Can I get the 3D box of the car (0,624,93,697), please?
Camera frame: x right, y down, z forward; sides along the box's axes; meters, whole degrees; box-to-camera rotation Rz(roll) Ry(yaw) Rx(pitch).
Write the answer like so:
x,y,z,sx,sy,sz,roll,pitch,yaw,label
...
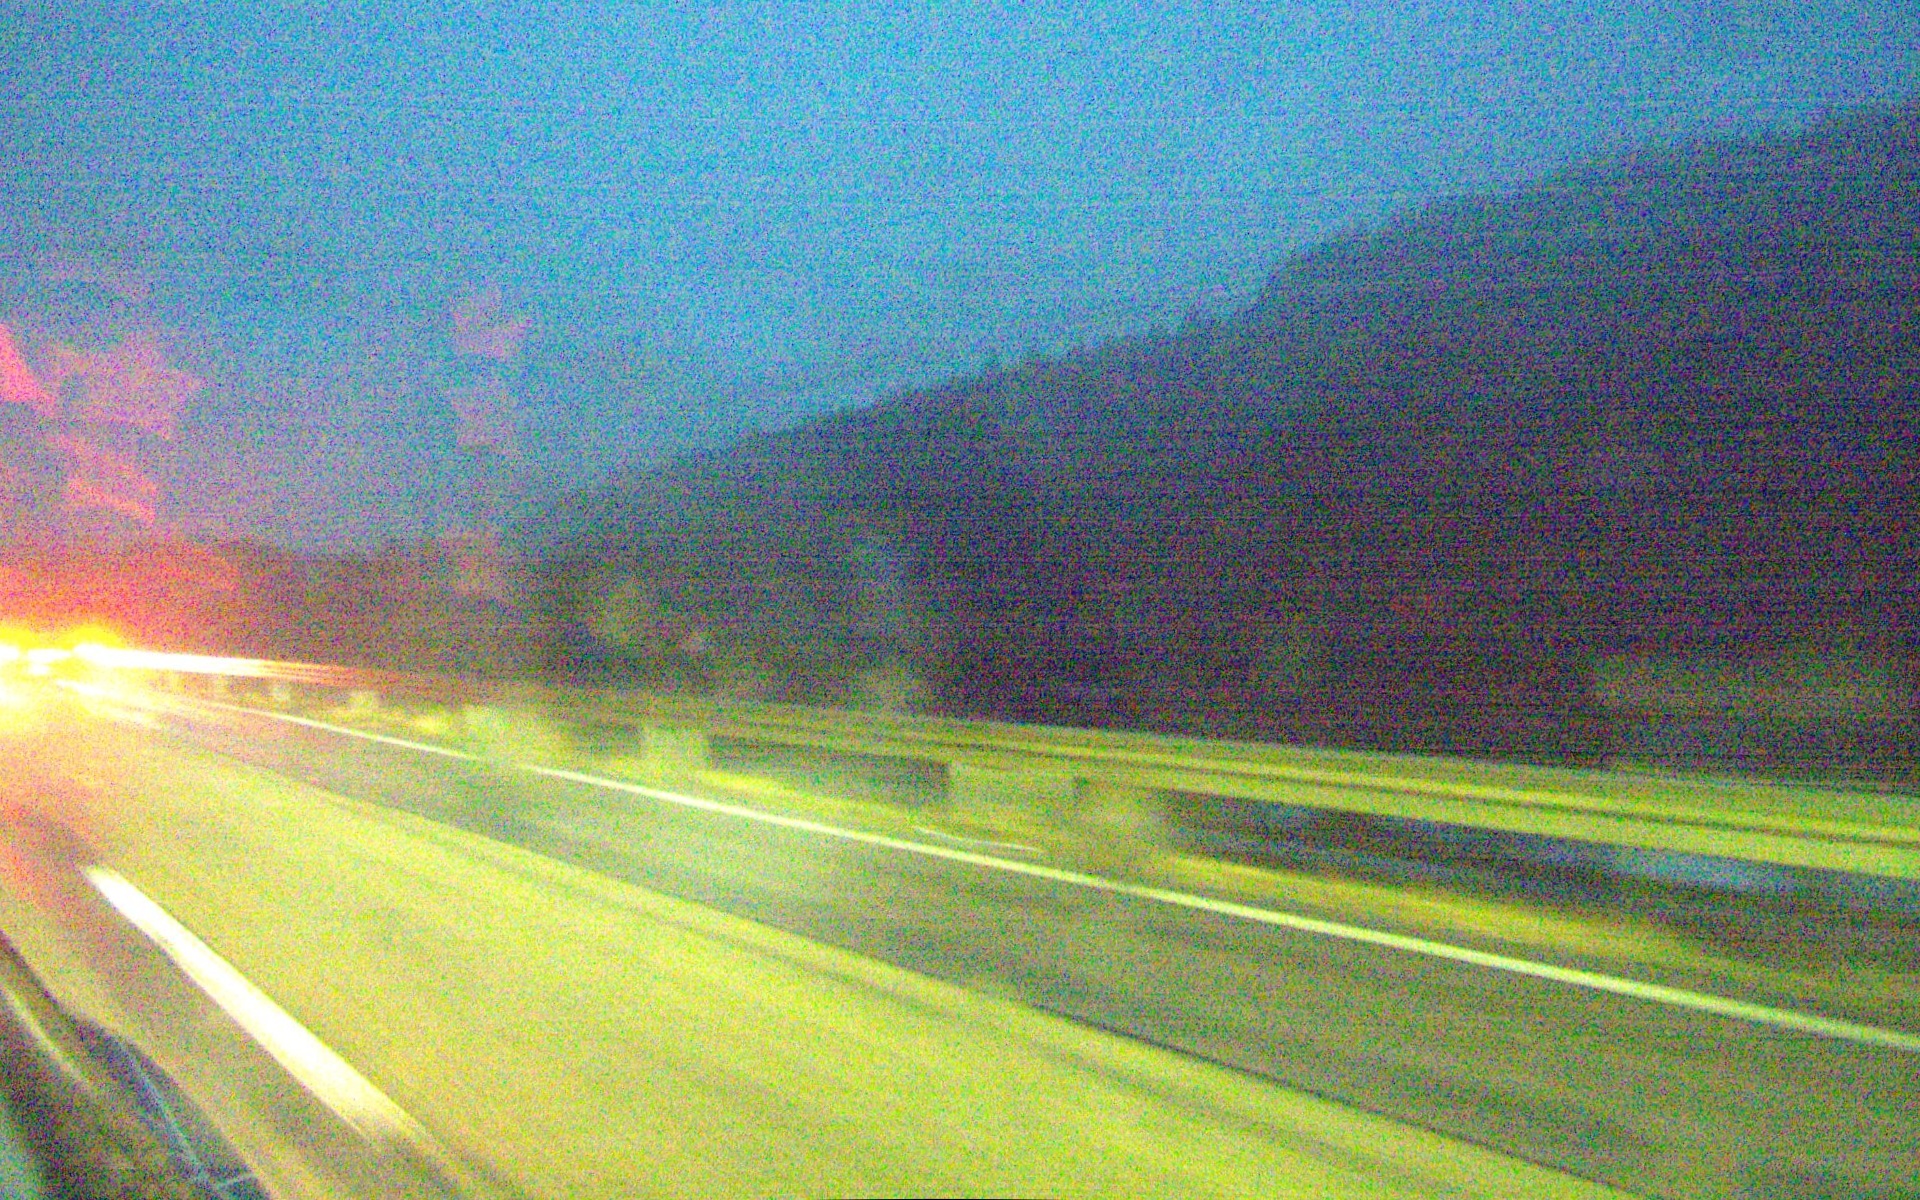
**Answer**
x,y,z,sx,sy,sz,roll,pitch,yaw,label
-20.203,1.251,21.993,3.584,1.396,1.564,-1,0,41,car
